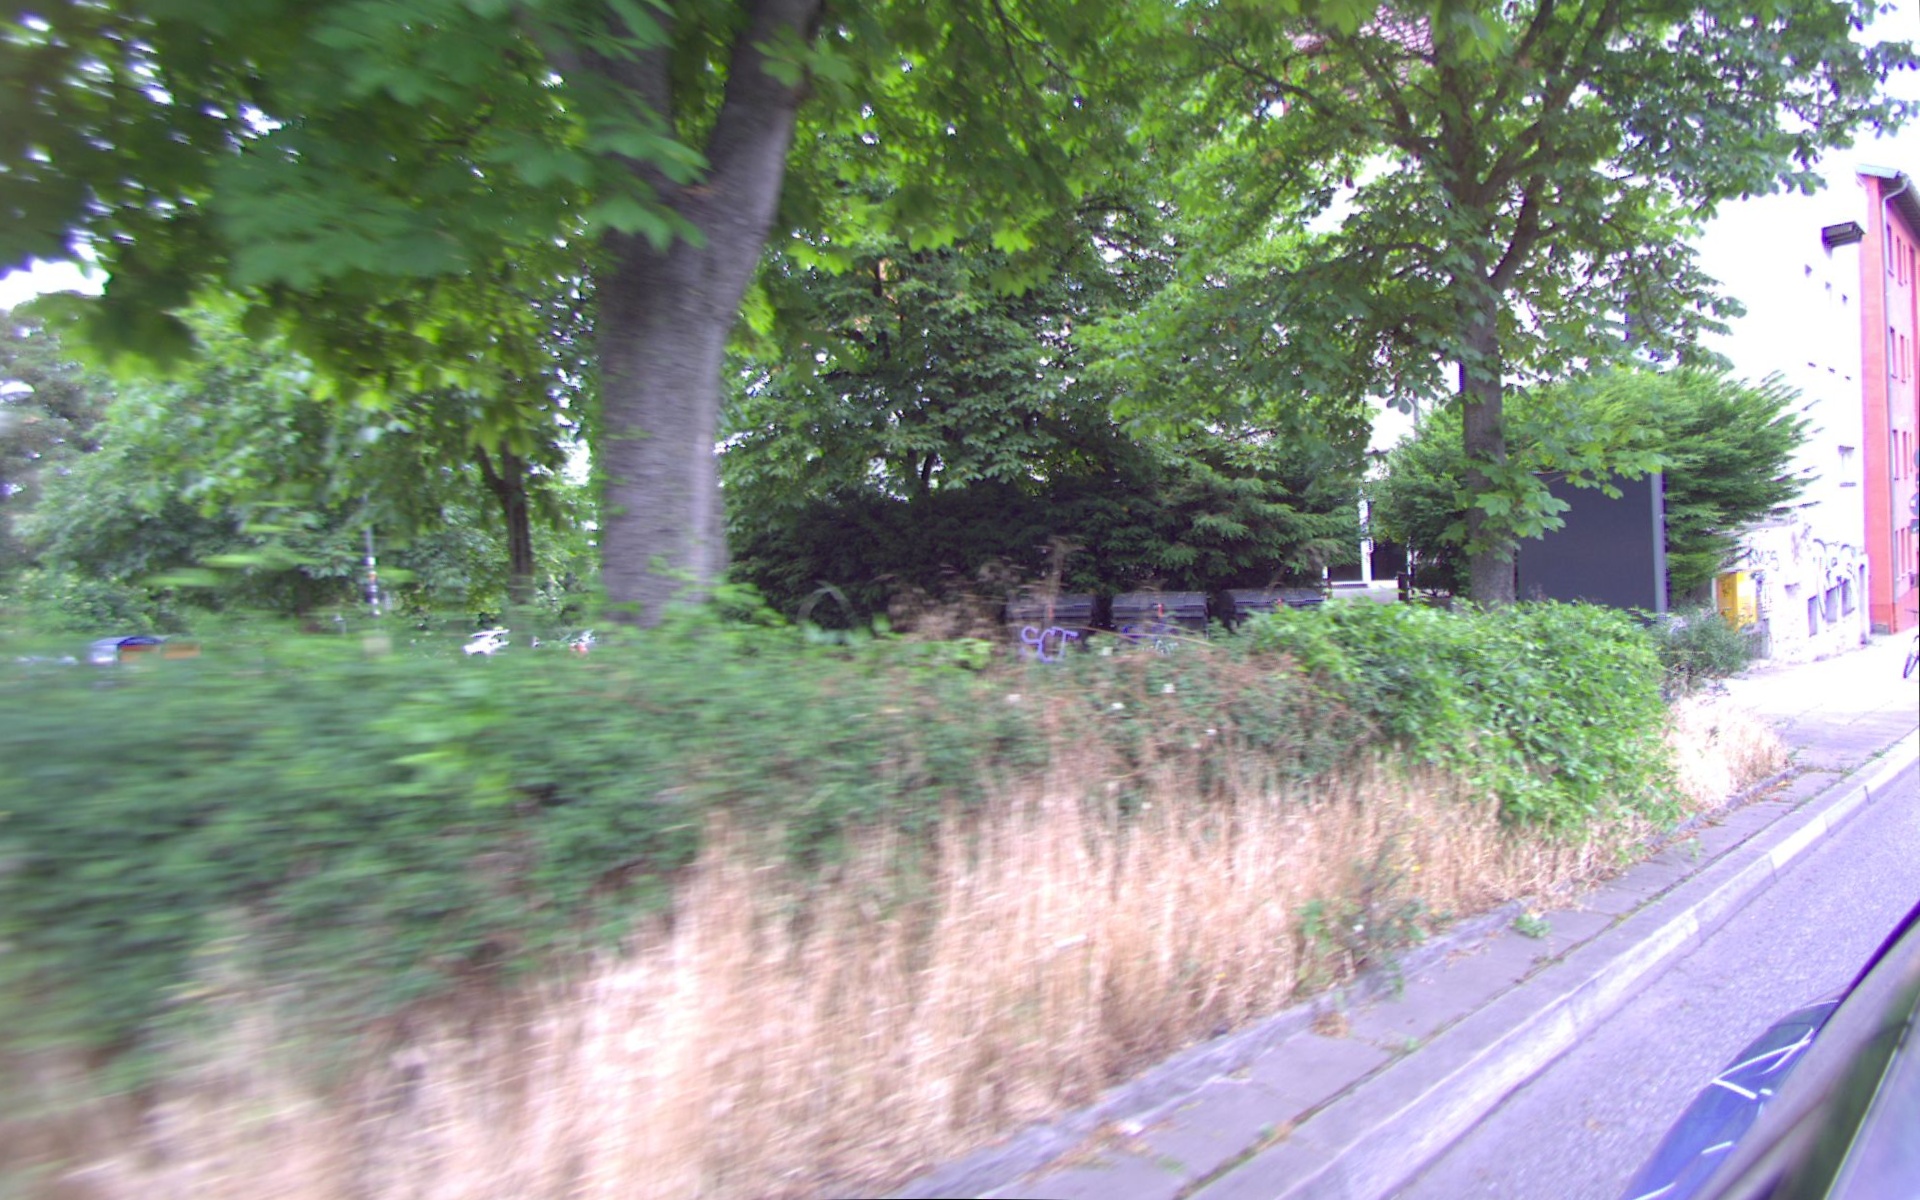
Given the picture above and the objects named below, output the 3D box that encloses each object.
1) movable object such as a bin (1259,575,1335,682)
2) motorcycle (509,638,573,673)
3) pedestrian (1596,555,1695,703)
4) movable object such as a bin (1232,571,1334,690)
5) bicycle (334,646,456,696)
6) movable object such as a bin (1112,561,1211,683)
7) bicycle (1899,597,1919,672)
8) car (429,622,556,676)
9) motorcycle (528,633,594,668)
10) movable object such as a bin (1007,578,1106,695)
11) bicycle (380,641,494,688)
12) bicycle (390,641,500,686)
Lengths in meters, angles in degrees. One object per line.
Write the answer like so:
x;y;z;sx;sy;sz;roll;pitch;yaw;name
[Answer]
4.950;0.396;14.926;0.796;1.505;1.078;-1;1;4;movable object such as a bin
-14.167;1.864;34.269;0.747;1.046;2.038;-3;0;24;motorcycle
8.461;0.324;12.493;0.808;1.733;0.834;-1;2;-42;pedestrian
4.382;0.396;13.799;1.129;1.554;0.843;-1;1;4;movable object such as a bin
-15.743;1.966;28.309;2.894;1.160;0.924;-2;-1;-26;bicycle
2.697;0.274;13.492;1.240;1.555;0.840;0;0;15;movable object such as a bin
15.164;0.561;15.410;0.634;1.157;2.049;1;2;24;bicycle
-19.157;1.970;41.737;1.976;1.928;4.682;-3;-1;21;car
-13.330;1.683;33.861;0.748;1.046;2.034;-3;-1;29;motorcycle
1.361;0.501;14.124;1.183;1.555;0.839;-2;0;17;movable object such as a bin
-15.257;1.850;29.625;2.894;1.160;0.924;-2;-1;-26;bicycle
-15.534;1.904;30.625;2.894;1.160;0.924;-2;-1;-26;bicycle
